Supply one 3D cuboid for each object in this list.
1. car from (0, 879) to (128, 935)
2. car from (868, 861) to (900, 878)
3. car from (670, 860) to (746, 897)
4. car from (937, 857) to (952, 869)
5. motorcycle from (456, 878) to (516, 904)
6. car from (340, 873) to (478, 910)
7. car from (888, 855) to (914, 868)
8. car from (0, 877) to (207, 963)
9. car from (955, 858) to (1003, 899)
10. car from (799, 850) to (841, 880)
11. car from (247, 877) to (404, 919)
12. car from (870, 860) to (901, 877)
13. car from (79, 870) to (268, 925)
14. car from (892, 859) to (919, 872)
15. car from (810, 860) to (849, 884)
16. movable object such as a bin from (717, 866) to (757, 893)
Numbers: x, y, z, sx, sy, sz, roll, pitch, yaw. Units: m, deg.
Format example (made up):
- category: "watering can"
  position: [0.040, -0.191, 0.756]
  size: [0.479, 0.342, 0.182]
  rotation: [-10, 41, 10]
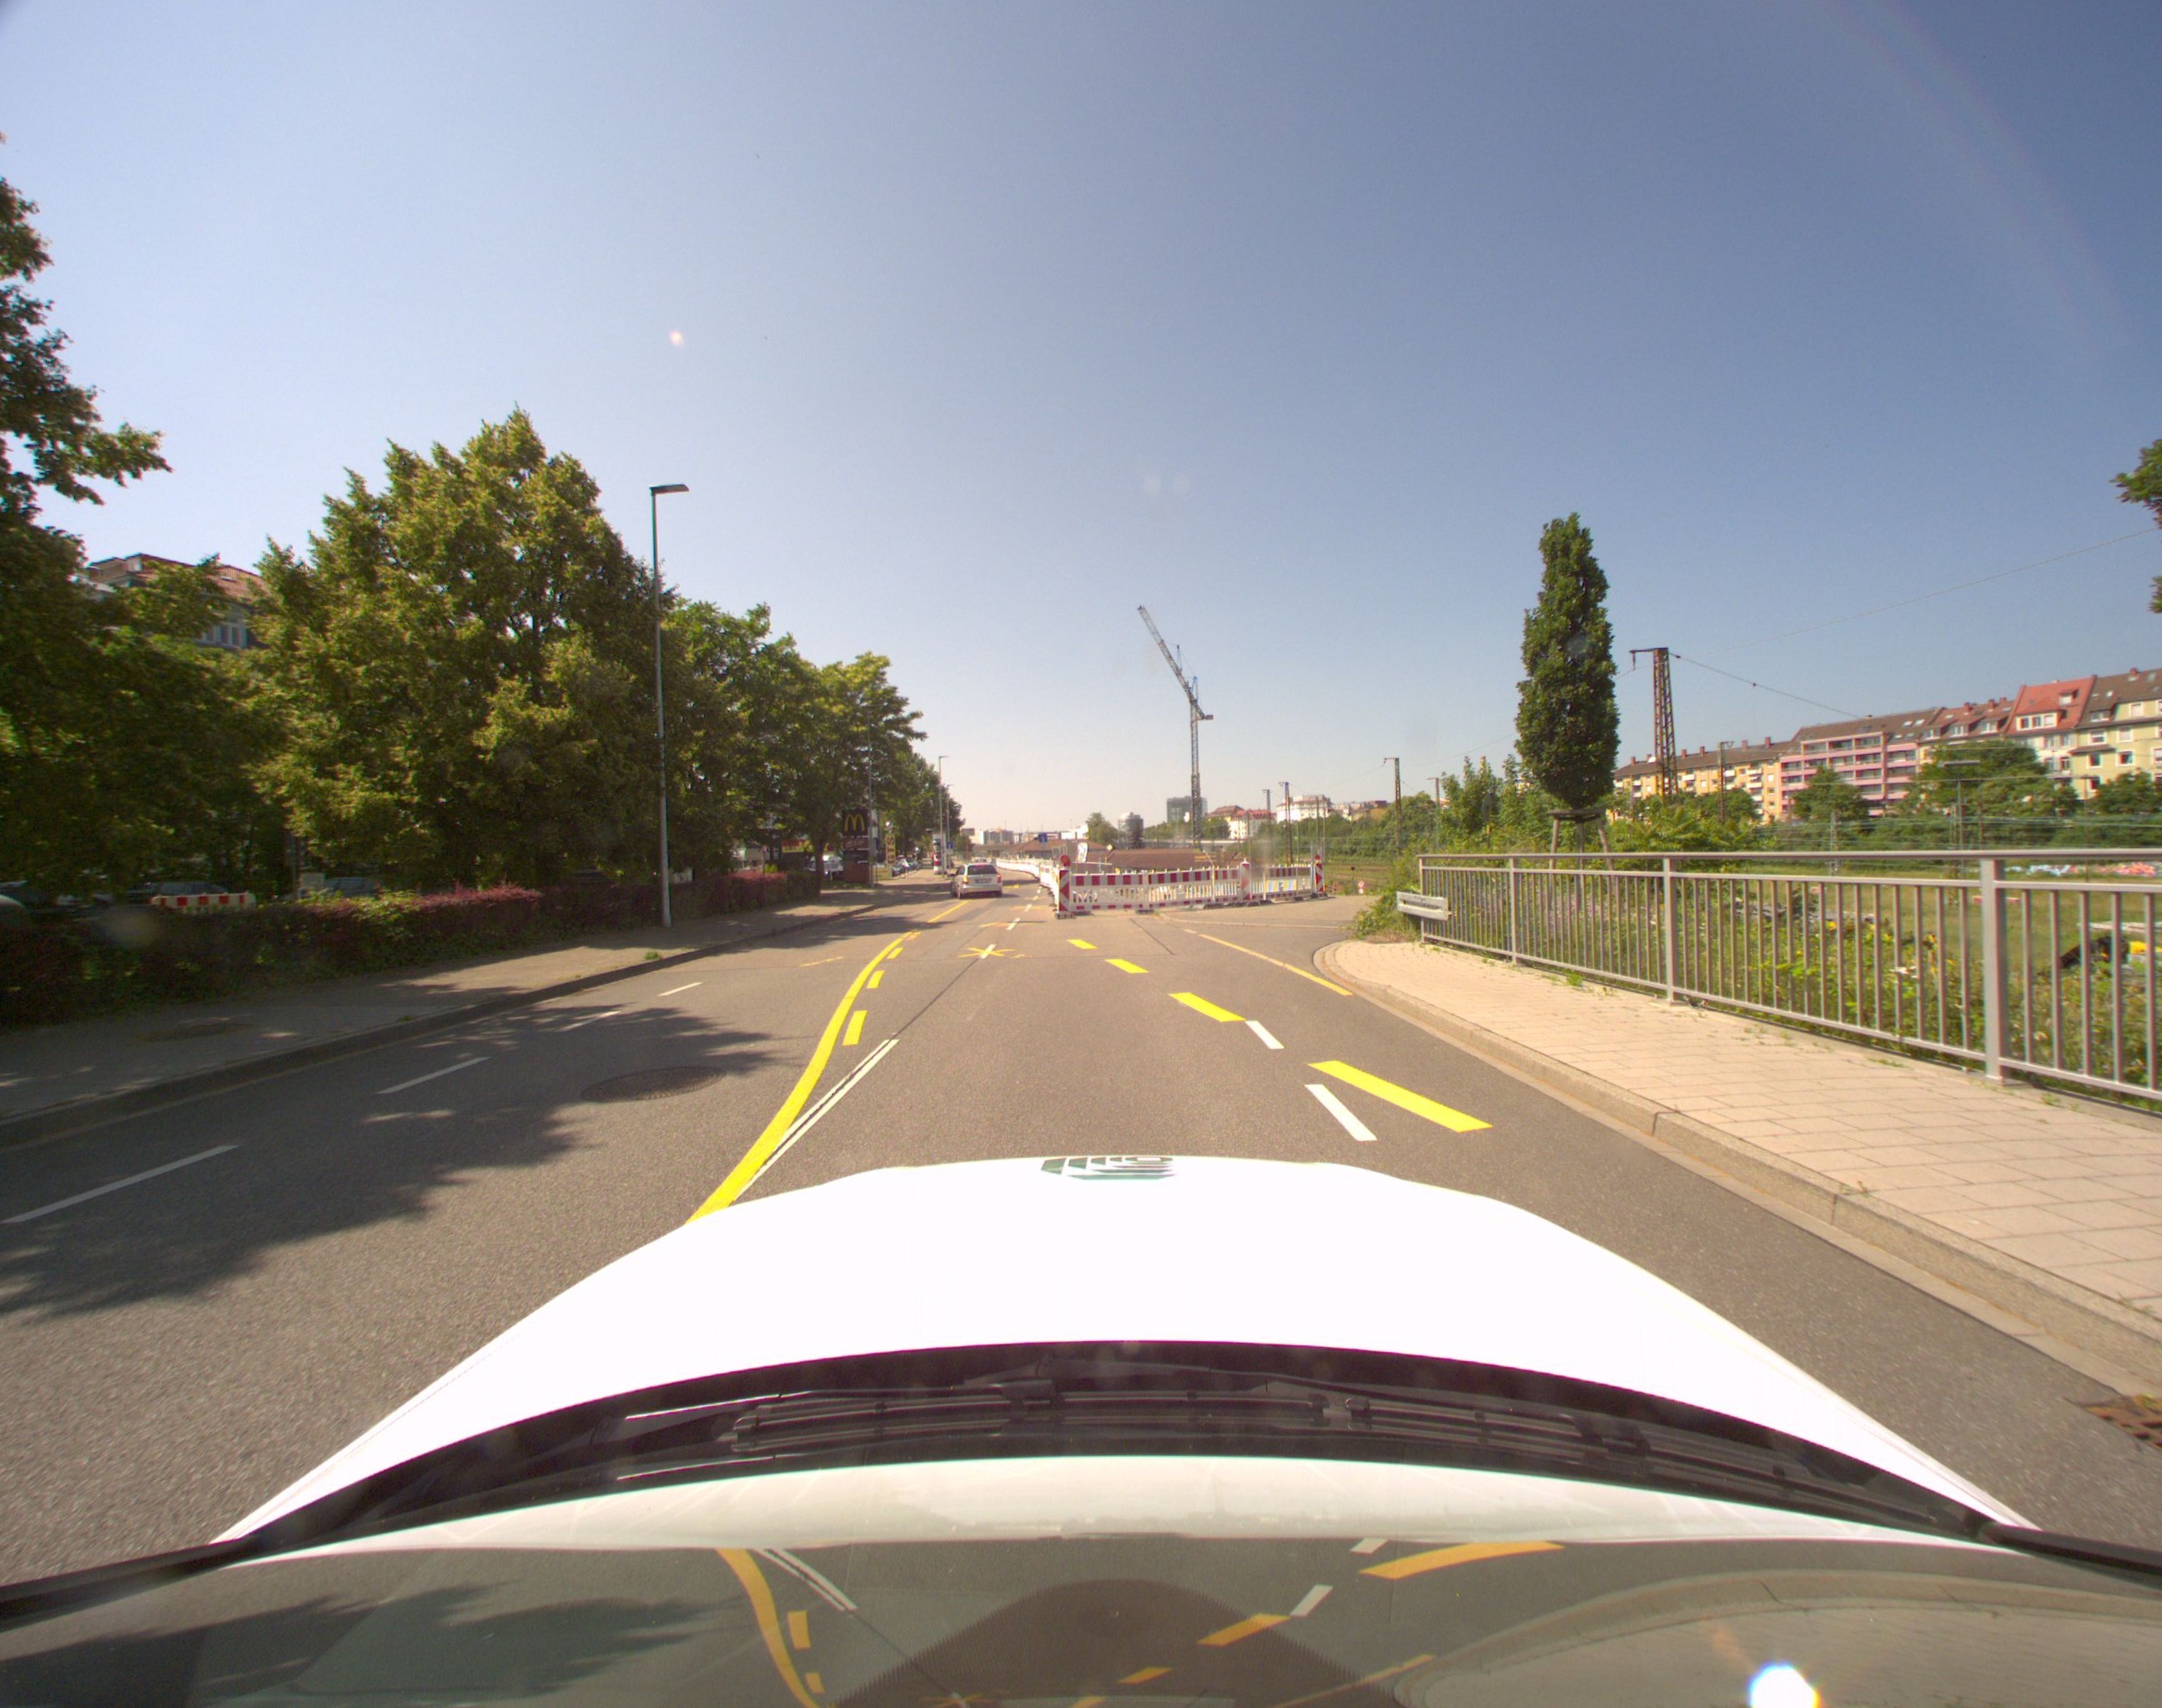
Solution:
- category: "car"
  position: [-32.724, 1.634, 25.227]
  size: [3.844, 1.588, 1.634]
  rotation: [-1, 0, -16]
- category: "car"
  position: [-19.515, 1.512, 80.555]
  size: [1.849, 1.472, 3.959]
  rotation: [-5, 1, -32]
- category: "car"
  position: [-23.521, 1.539, 51.290]
  size: [4.467, 1.920, 1.905]
  rotation: [-5, 1, 29]
- category: "car"
  position: [-19.910, 1.277, 119.012]
  size: [1.867, 1.498, 4.023]
  rotation: [-3, 1, -6]
- category: "motorcycle"
  position: [-27.465, 1.687, 37.623]
  size: [2.190, 1.131, 0.564]
  rotation: [-1, 0, -30]
- category: "car"
  position: [-28.087, 1.552, 34.186]
  size: [4.088, 1.387, 1.761]
  rotation: [-1, 0, -15]
- category: "car"
  position: [-28.636, 1.205, 129.421]
  size: [3.932, 1.959, 1.749]
  rotation: [-1, 0, -17]
- category: "car"
  position: [-21.596, 1.332, 16.619]
  size: [2.061, 1.560, 5.029]
  rotation: [-2, 0, 0]
- category: "car"
  position: [-4.177, 0.952, 33.087]
  size: [1.708, 1.403, 4.374]
  rotation: [-4, 1, -8]
- category: "car"
  position: [-26.503, 1.101, 82.961]
  size: [2.271, 2.758, 6.148]
  rotation: [-3, -1, -2]
- category: "car"
  position: [-28.586, 1.650, 30.945]
  size: [4.064, 1.395, 1.619]
  rotation: [-1, 0, -15]
- category: "car"
  position: [-20.633, 1.532, 85.960]
  size: [1.793, 1.472, 3.956]
  rotation: [-5, 1, -35]
- category: "car"
  position: [-31.333, 1.462, 28.260]
  size: [4.017, 1.732, 1.793]
  rotation: [-1, 0, -15]
- category: "car"
  position: [-22.088, 1.469, 102.515]
  size: [1.791, 1.473, 3.955]
  rotation: [-5, 1, -37]
- category: "car"
  position: [-21.046, 1.511, 68.085]
  size: [2.056, 1.707, 4.271]
  rotation: [-3, -1, -32]
- category: "movable object such as a bin"
  position: [-22.498, 1.653, 53.331]
  size: [1.756, 1.526, 1.462]
  rotation: [-4, 2, 16]
